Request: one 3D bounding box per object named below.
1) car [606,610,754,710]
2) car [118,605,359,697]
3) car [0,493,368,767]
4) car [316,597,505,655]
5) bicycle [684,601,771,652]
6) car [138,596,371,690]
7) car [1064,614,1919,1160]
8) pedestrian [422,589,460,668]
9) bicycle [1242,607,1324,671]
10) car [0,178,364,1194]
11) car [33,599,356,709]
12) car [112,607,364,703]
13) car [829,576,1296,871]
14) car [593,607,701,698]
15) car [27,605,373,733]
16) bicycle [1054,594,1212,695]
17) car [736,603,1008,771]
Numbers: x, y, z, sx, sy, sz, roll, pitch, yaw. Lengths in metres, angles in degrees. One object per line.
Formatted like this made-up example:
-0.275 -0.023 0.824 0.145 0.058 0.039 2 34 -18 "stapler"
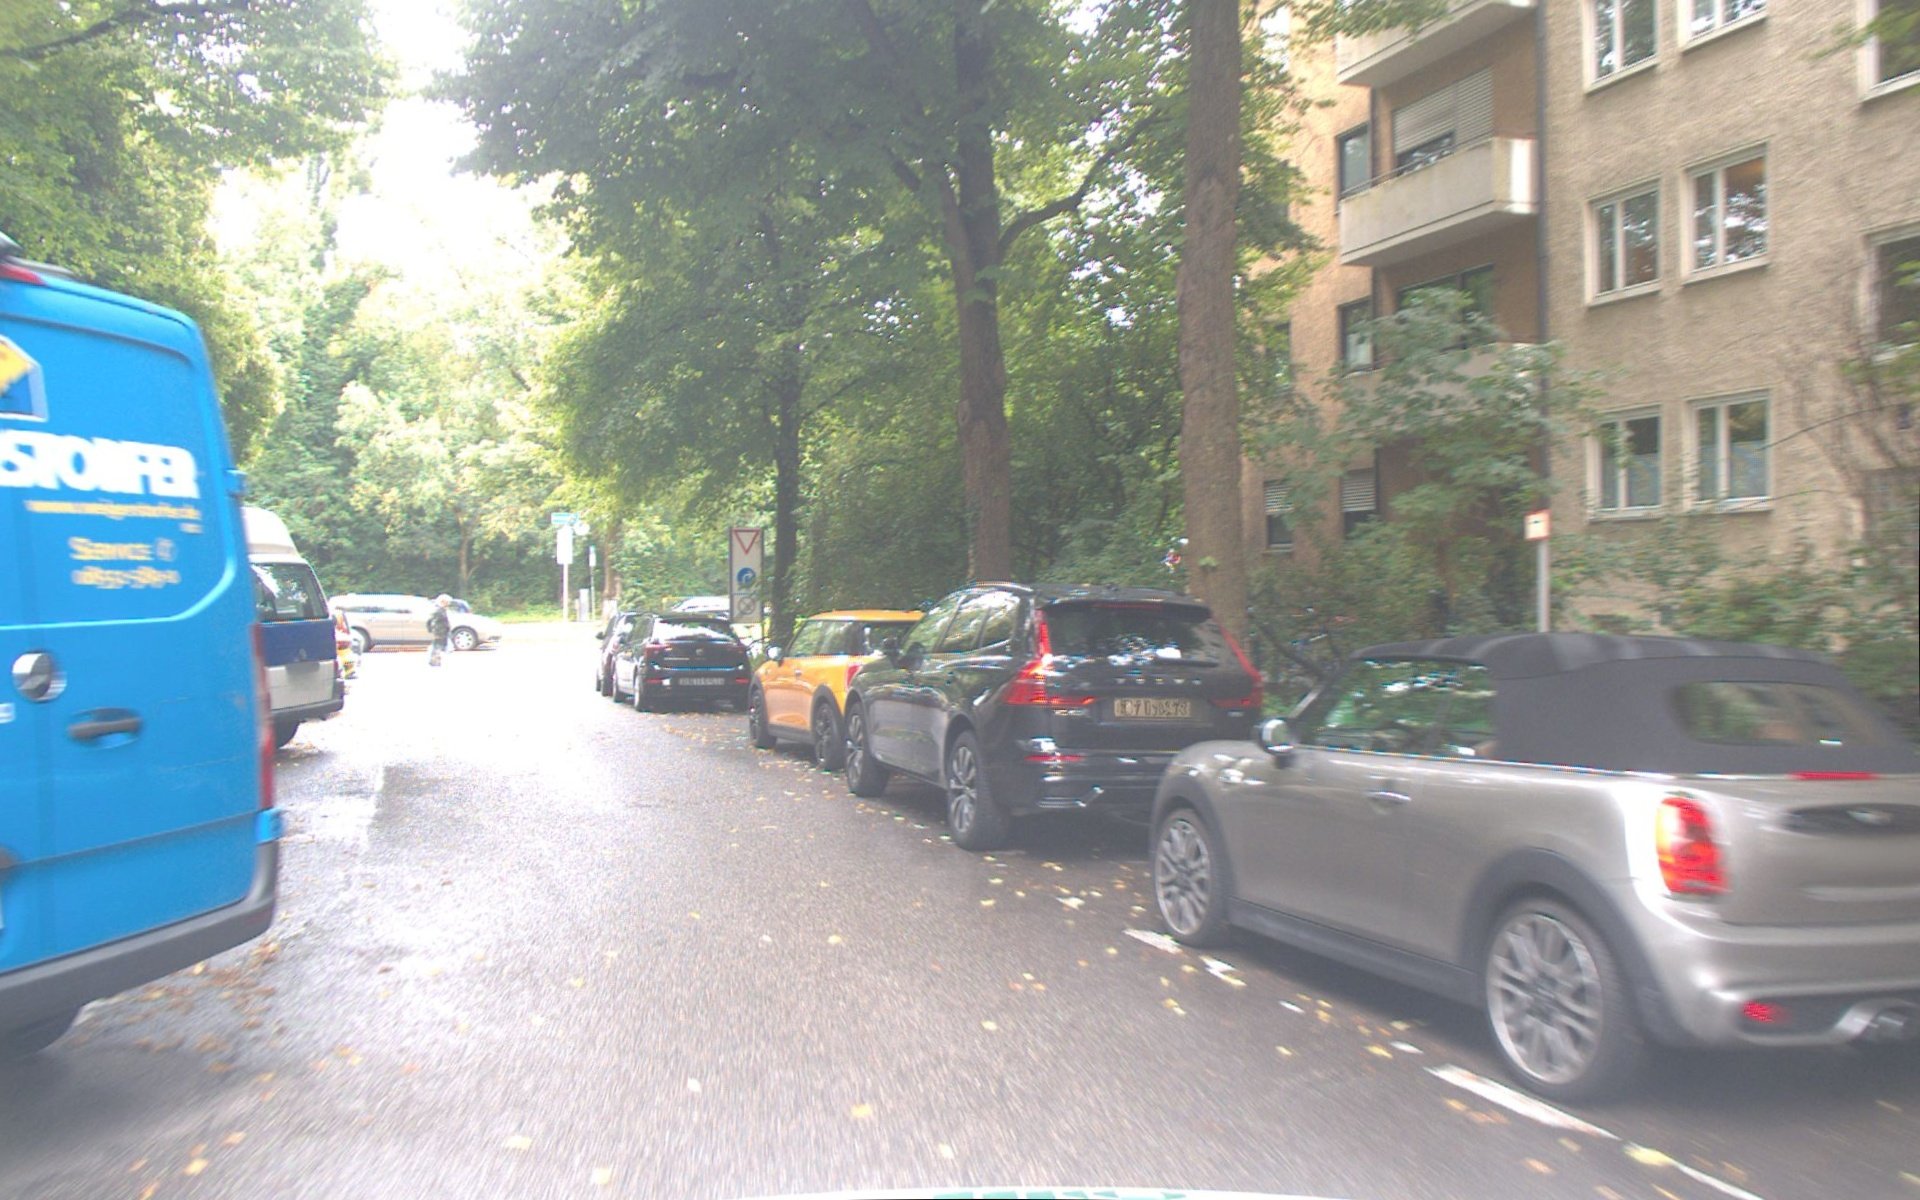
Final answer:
-4.414 0.872 25.685 1.656 1.382 3.987 0 0 -19 "car"
-13.308 0.907 30.751 3.927 1.489 1.726 -2 1 -19 "car"
-8.363 0.300 16.045 4.472 2.419 1.906 -2 0 4 "car"
-14.923 0.678 45.141 4.719 1.522 1.836 0 0 -14 "car"
-4.719 0.527 33.573 1.720 0.999 0.272 -1 0 -10 "bicycle"
-13.942 0.818 32.936 4.099 1.629 1.726 -2 2 -19 "car"
2.150 0.812 6.964 1.870 1.438 4.405 -2 0 -19 "car"
-11.135 0.604 35.504 0.766 1.645 0.757 0 2 -16 "pedestrian"
5.647 0.662 29.053 0.546 1.062 1.825 -1 0 -20 "bicycle"
-4.754 0.315 4.926 5.362 2.395 2.067 -3 -1 17 "car"
-12.046 0.810 26.331 4.372 1.624 1.829 0 0 -14 "car"
-12.324 0.907 28.491 3.822 1.466 1.730 -2 0 -20 "car"
0.465 0.678 11.721 1.803 1.657 4.502 0 0 -18 "car"
-5.677 0.883 29.728 1.621 1.500 3.627 0 0 -16 "car"
-9.849 0.850 21.761 3.927 1.458 1.726 -2 0 -19 "car"
2.006 0.491 19.073 1.808 1.102 0.542 -1 0 -27 "bicycle"
-0.993 0.760 16.504 1.596 1.437 3.755 0 0 -22 "car"
